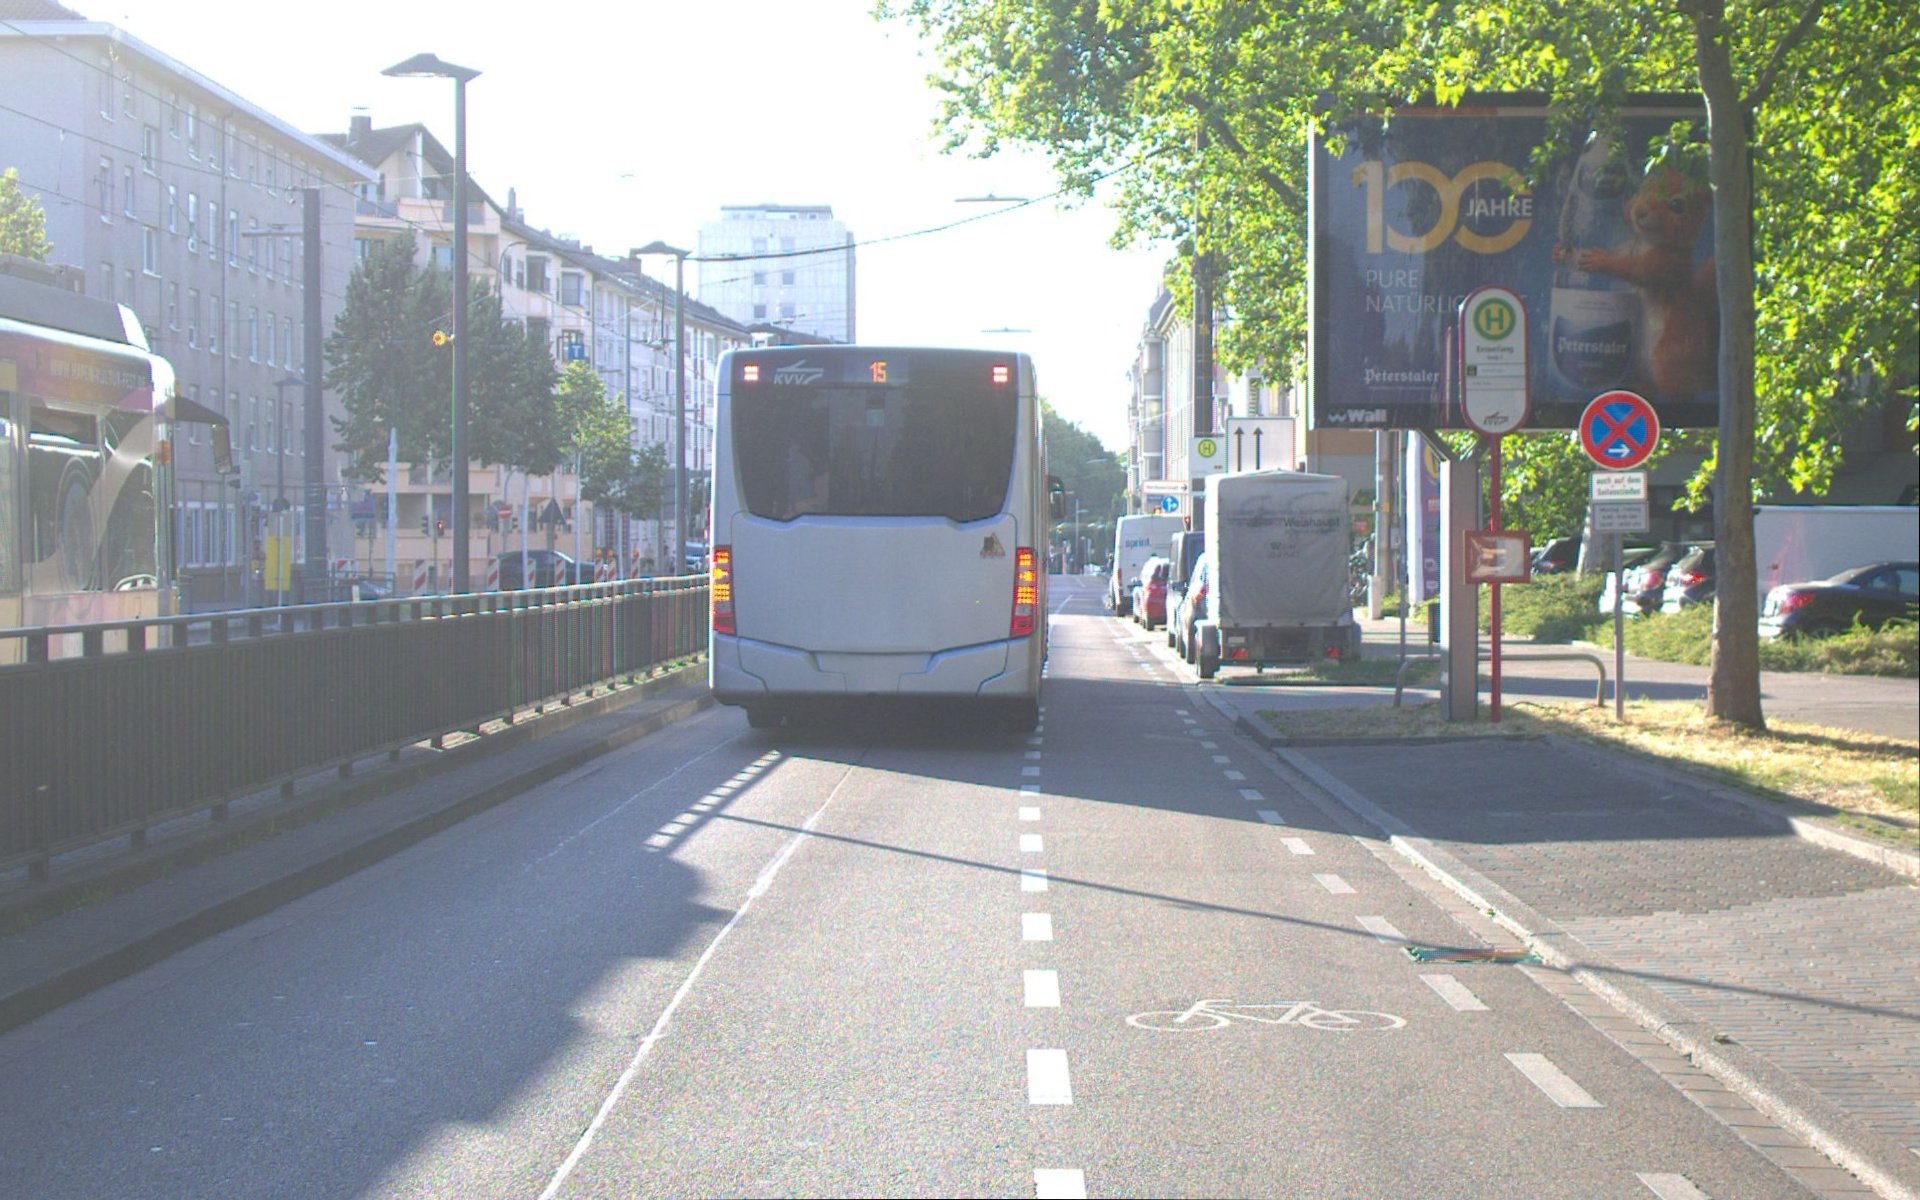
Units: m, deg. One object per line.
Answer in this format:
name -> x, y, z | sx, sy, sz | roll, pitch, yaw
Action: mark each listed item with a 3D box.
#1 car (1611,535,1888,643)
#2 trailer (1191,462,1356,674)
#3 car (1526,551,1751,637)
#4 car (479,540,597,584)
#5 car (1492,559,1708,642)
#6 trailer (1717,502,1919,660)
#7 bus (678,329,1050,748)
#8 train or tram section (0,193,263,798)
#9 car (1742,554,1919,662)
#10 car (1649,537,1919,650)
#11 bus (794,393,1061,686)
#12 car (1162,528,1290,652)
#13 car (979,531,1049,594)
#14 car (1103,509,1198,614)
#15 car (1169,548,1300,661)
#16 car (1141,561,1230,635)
car -> 12.244, -0.176, 53.480 | 3.920, 1.632, 1.706 | 0, 0, 2
trailer -> 3.902, -0.408, 43.286 | 1.832, 2.549, 3.318 | -1, 1, 1
car -> 12.775, -0.114, 64.861 | 3.920, 1.583, 1.706 | 0, 0, 2
car -> -15.705, -1.412, 128.054 | 4.135, 1.612, 2.000 | 0, 1, 0
car -> 12.490, -0.001, 67.212 | 3.920, 1.583, 1.706 | 0, 0, 2
trailer -> 11.812, -0.260, 45.848 | 3.064, 2.062, 1.878 | 0, 1, 3
bus -> -0.584, -0.558, 31.053 | 2.733, 3.128, 10.703 | 0, 1, 2
train or tram section -> -6.880, -0.603, 19.920 | 2.640, 3.507, 13.333 | 0, 1, 1
car -> 11.949, 0.085, 43.158 | 3.920, 1.331, 1.706 | 0, 0, 3
car -> 12.360, -0.109, 51.114 | 3.920, 1.631, 1.706 | 0, 0, 2
bus -> -0.218, -0.723, 40.916 | 2.708, 3.096, 8.979 | 0, 1, 2
car -> 4.327, -0.177, 56.443 | 1.847, 1.950, 4.543 | 0, 1, 1
car -> 1.632, -1.133, 102.416 | 1.994, 1.809, 4.000 | 0, 1, 2
car -> 4.867, -0.981, 88.527 | 2.282, 2.618, 5.309 | 0, 1, 2
car -> 3.989, 0.045, 50.363 | 1.701, 1.583, 3.827 | 0, 1, 2
car -> 4.722, -0.066, 72.435 | 1.671, 1.458, 3.933 | -2, 0, 2
